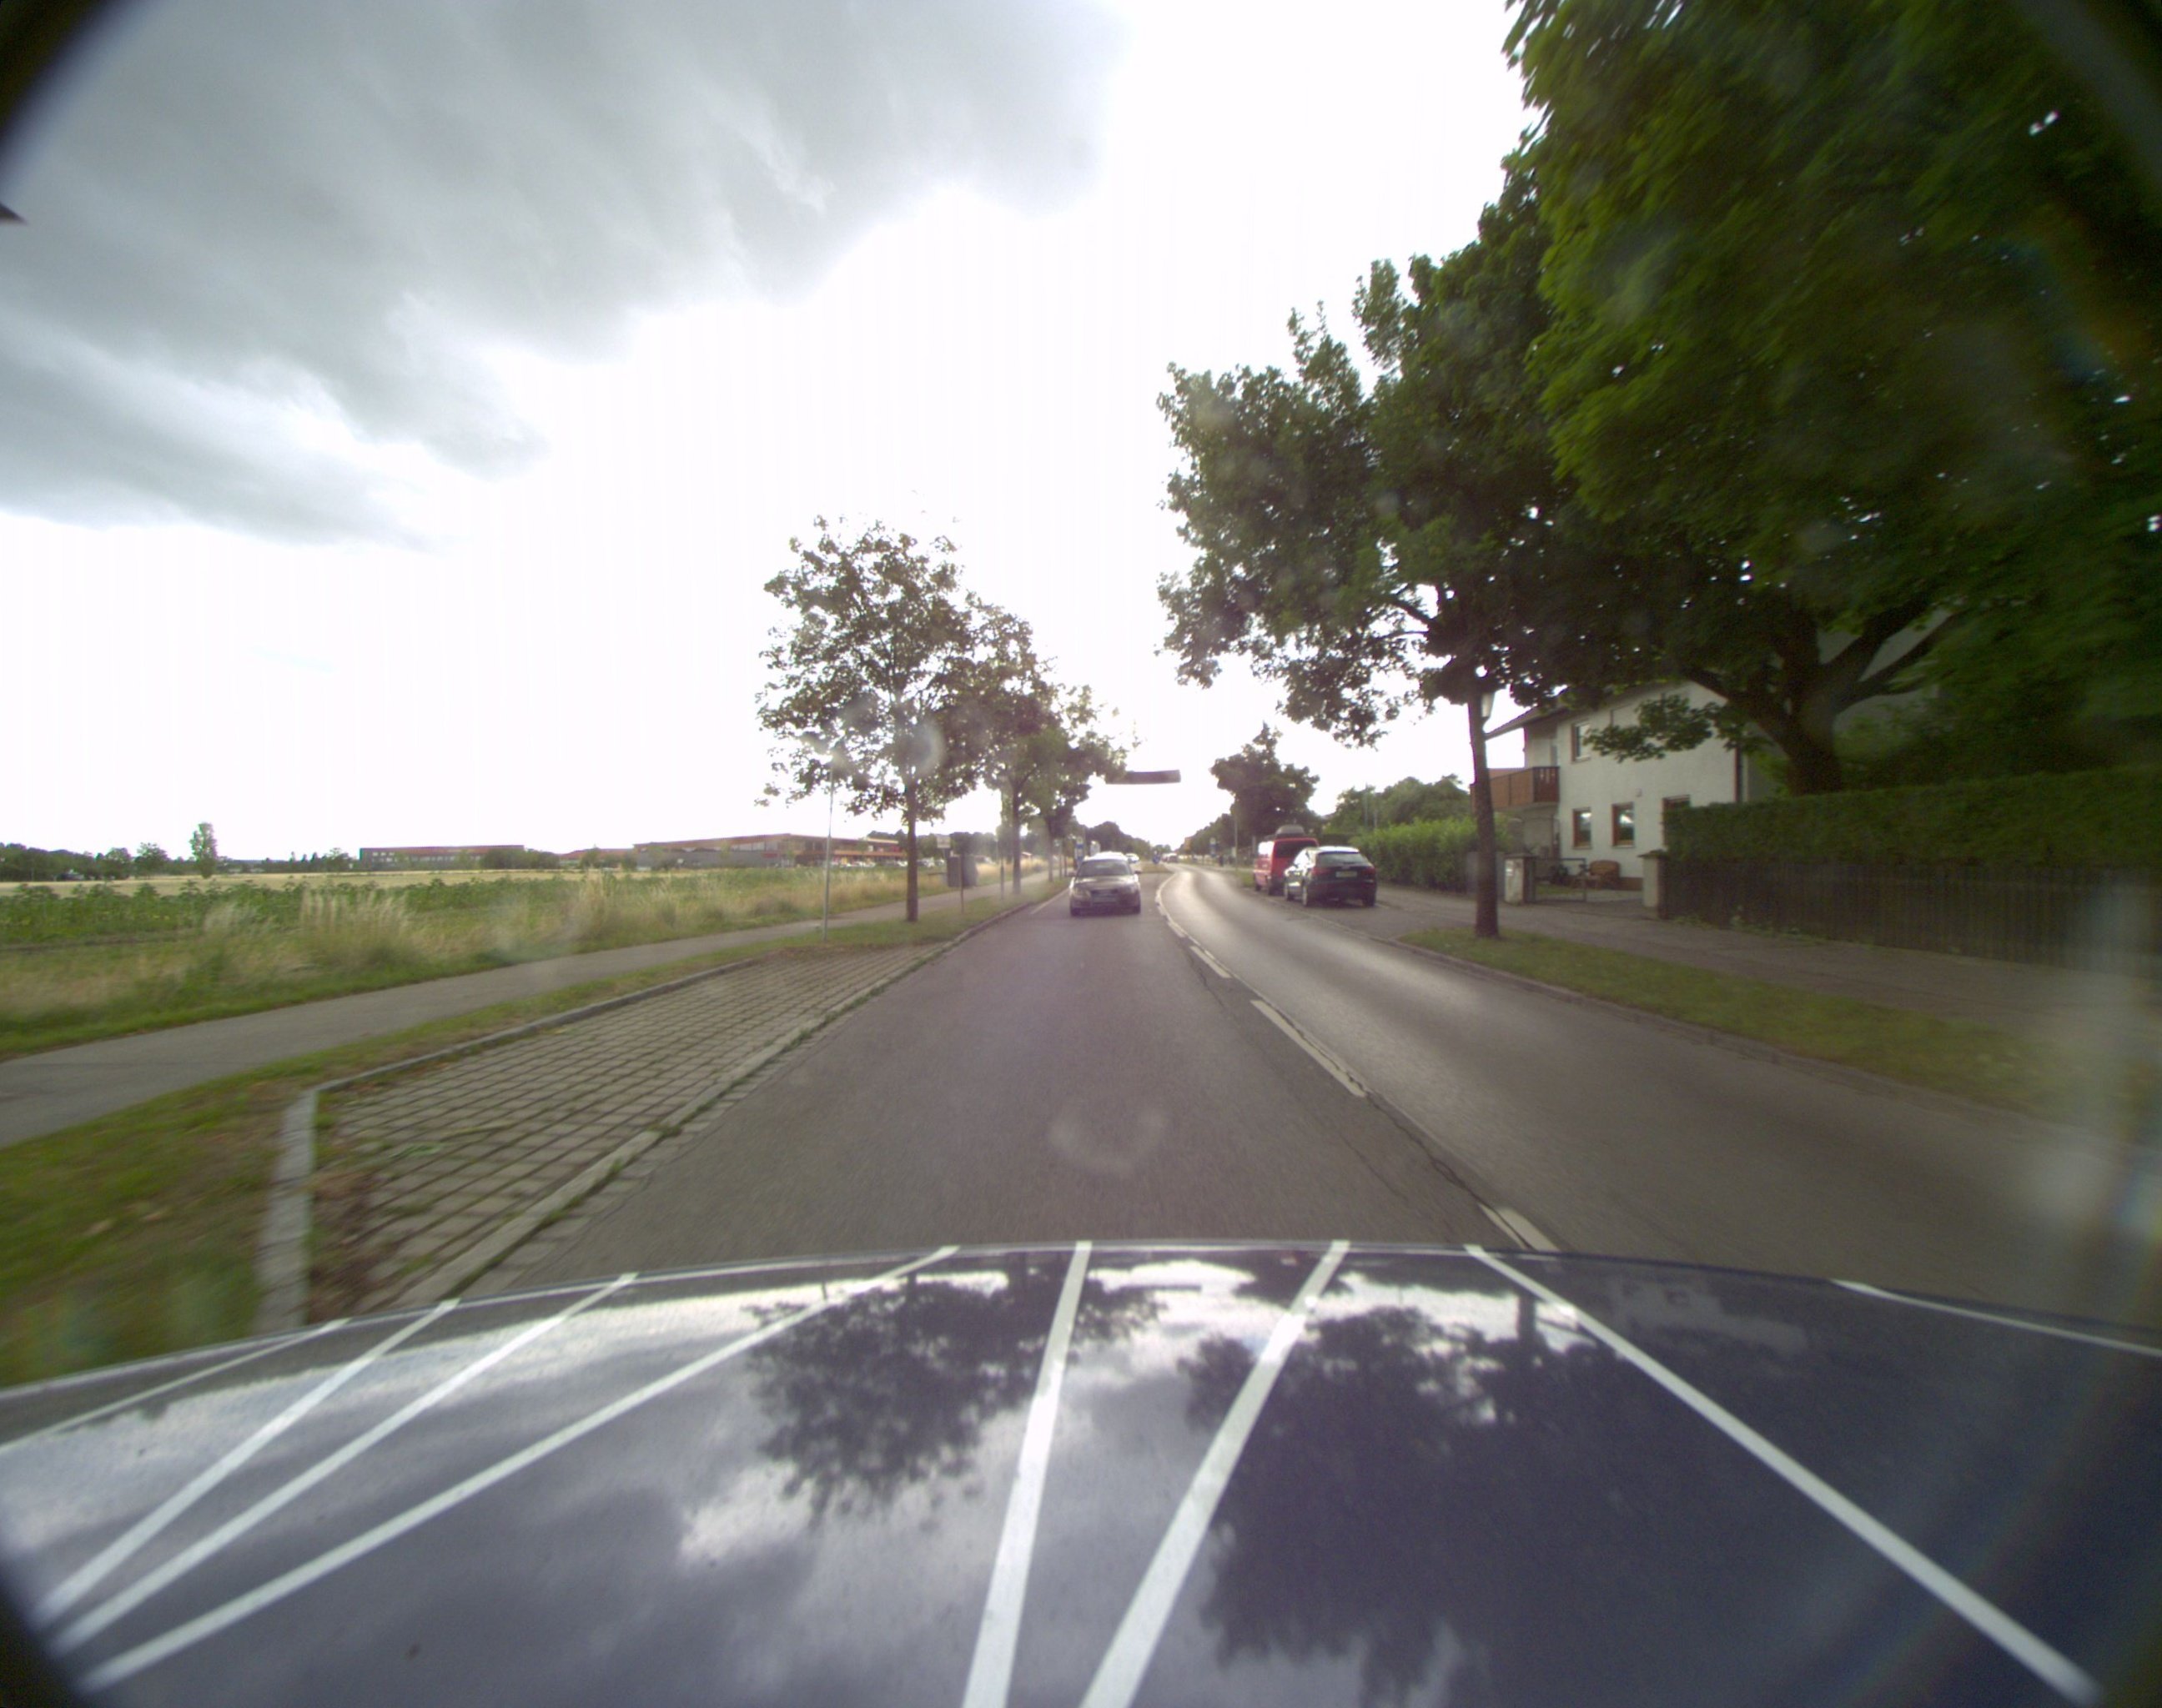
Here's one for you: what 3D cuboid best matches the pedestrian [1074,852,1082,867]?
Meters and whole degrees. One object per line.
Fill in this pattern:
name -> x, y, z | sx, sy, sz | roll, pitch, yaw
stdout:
pedestrian -> -0.272, 0.509, 68.613 | 0.666, 1.295, 0.505 | -3, 1, 5

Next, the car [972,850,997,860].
car -> -23.185, 0.200, 182.733 | 5.525, 2.002, 1.999 | -3, 1, -2

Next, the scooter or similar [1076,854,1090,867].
scooter or similar -> 0.196, 0.595, 69.340 | 0.707, 1.056, 1.062 | -2, 1, 41

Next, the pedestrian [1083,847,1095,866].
pedestrian -> 0.774, 0.272, 73.486 | 0.782, 1.782, 0.780 | -3, 1, 26

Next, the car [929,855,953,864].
car -> -34.694, 1.323, 188.257 | 5.525, 2.002, 1.999 | -3, 1, -2

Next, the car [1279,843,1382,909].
car -> 6.825, 0.564, 21.225 | 1.775, 1.588, 4.239 | -2, 0, 5

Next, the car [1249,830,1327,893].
car -> 7.311, 0.257, 27.283 | 1.834, 2.018, 5.048 | -1, 0, 5

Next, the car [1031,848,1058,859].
car -> -7.530, -0.047, 157.528 | 5.525, 2.002, 1.999 | -3, 1, -2

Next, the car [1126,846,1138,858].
car -> 9.118, -0.393, 135.812 | 1.998, 2.002, 4.000 | -1, 0, 2

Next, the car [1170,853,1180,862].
car -> 15.850, 0.548, 128.576 | 1.710, 1.523, 3.509 | 0, 0, 7

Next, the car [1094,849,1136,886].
car -> 1.641, 0.581, 35.276 | 1.762, 1.495, 4.692 | -3, 0, 4

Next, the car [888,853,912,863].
car -> -40.530, 0.956, 170.420 | 4.856, 2.002, 1.999 | -3, 1, -3

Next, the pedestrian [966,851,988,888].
pedestrian -> -5.146, 0.757, 37.643 | 0.839, 1.745, 0.870 | -2, 1, 9

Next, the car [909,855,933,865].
car -> -36.465, 1.301, 173.314 | 4.856, 2.002, 1.999 | -3, 1, -3

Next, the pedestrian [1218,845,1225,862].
pedestrian -> 14.105, -0.039, 76.208 | 0.589, 1.627, 0.813 | -1, 0, 4

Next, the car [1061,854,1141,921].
car -> 0.638, 0.777, 19.732 | 1.762, 1.410, 4.521 | -3, 0, 4

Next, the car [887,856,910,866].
car -> -42.563, 1.581, 177.076 | 4.856, 2.002, 1.999 | -3, 1, -3
